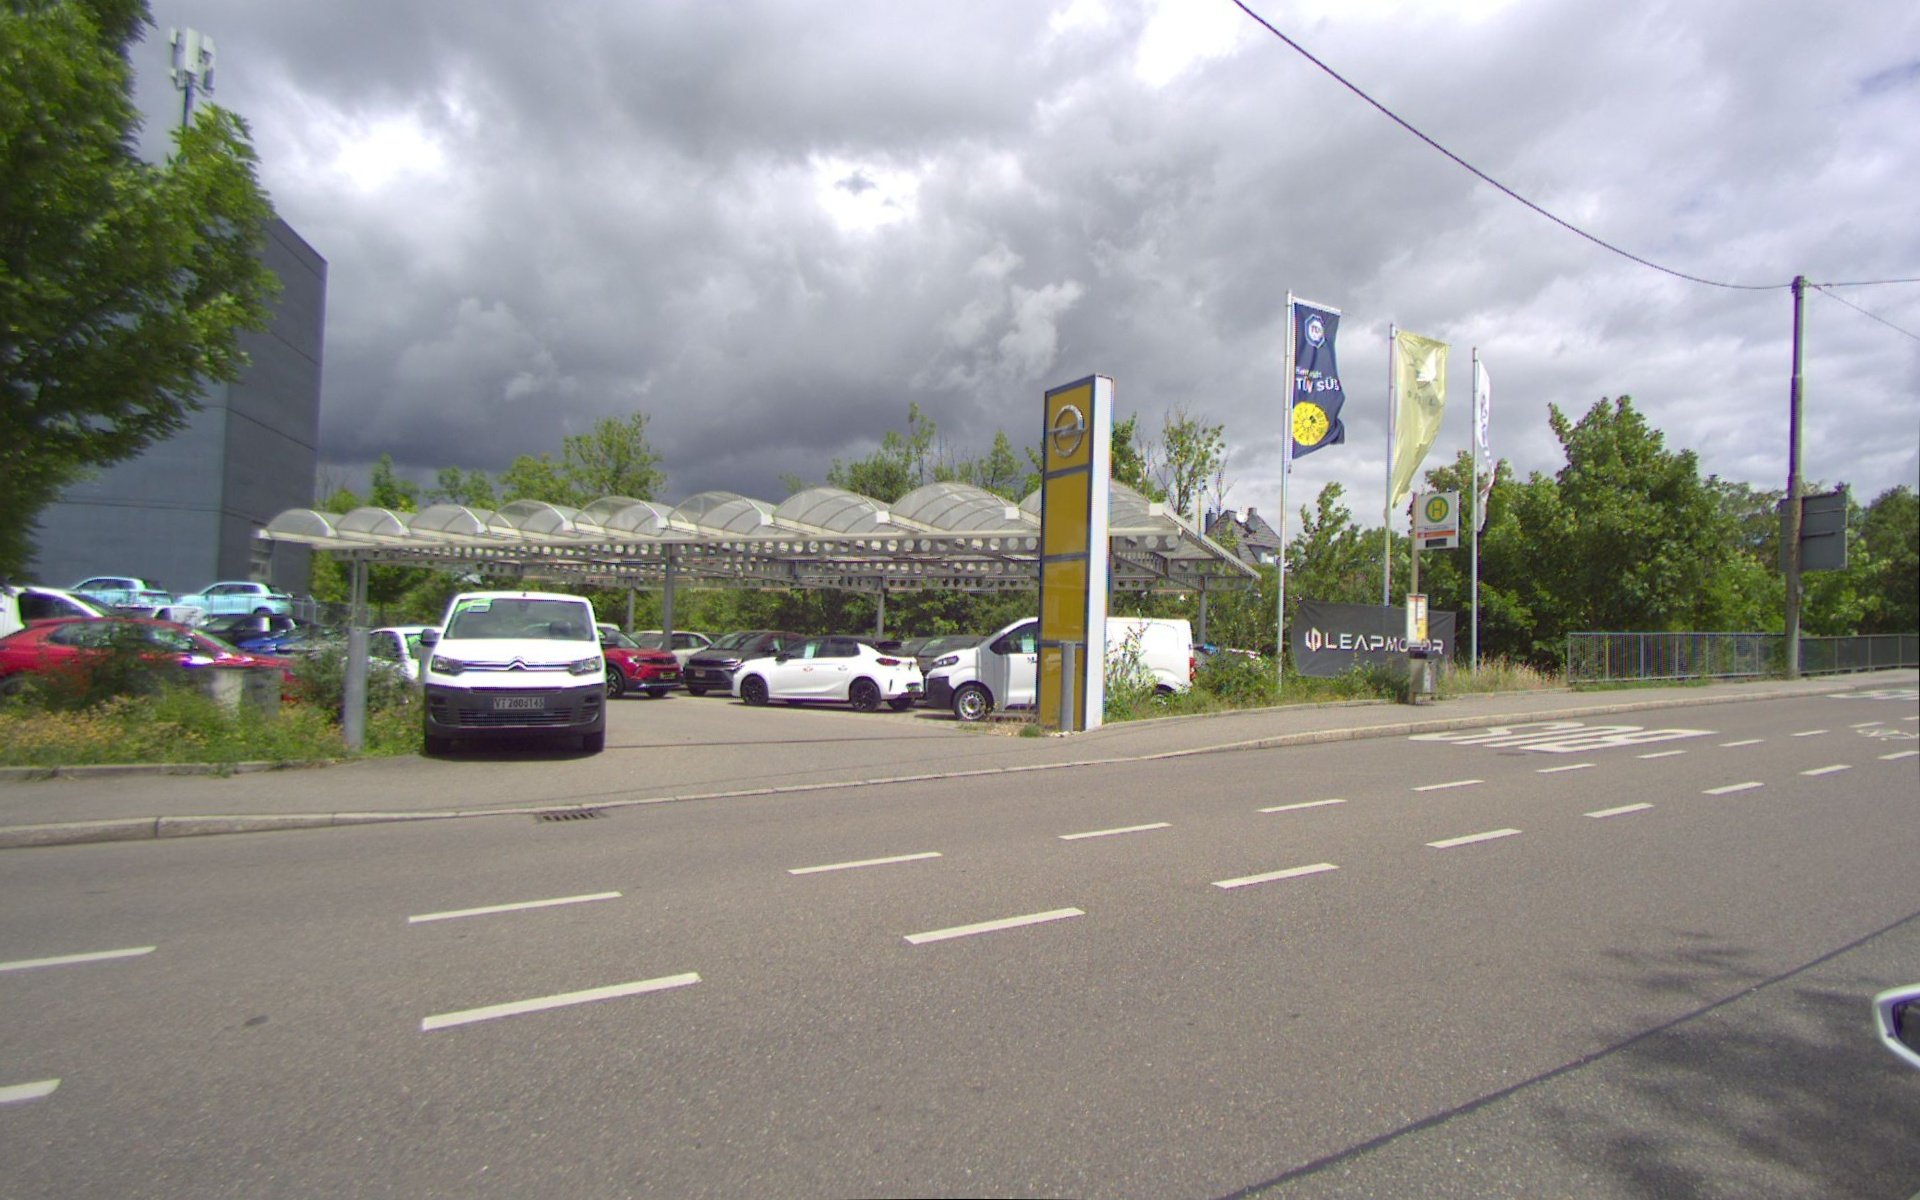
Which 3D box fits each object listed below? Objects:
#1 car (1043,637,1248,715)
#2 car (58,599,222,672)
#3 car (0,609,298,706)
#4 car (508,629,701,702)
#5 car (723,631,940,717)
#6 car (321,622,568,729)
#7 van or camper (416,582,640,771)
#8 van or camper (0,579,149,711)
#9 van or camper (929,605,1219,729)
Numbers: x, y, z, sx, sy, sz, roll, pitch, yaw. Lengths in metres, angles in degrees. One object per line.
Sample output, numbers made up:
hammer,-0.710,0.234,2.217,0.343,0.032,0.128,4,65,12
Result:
car,3.871,1.596,21.354,3.925,1.486,1.817,2,-2,-6
car,-26.320,1.072,32.494,1.965,2.040,4.825,4,0,-12
car,-11.712,0.825,14.526,3.434,1.270,1.533,2,-3,-31
car,-7.876,1.422,22.312,3.704,1.486,1.818,0,-3,20
car,-2.578,1.441,20.232,3.923,1.486,1.818,1,-2,23
car,-8.356,1.120,16.120,4.457,1.455,2.003,-1,-3,41
van or camper,-5.132,0.818,11.962,1.973,1.773,4.656,2,-2,-24
van or camper,-16.147,0.703,16.040,4.630,2.040,1.985,2,-3,-30
van or camper,1.978,1.152,18.040,4.859,1.989,1.991,1,-1,3
